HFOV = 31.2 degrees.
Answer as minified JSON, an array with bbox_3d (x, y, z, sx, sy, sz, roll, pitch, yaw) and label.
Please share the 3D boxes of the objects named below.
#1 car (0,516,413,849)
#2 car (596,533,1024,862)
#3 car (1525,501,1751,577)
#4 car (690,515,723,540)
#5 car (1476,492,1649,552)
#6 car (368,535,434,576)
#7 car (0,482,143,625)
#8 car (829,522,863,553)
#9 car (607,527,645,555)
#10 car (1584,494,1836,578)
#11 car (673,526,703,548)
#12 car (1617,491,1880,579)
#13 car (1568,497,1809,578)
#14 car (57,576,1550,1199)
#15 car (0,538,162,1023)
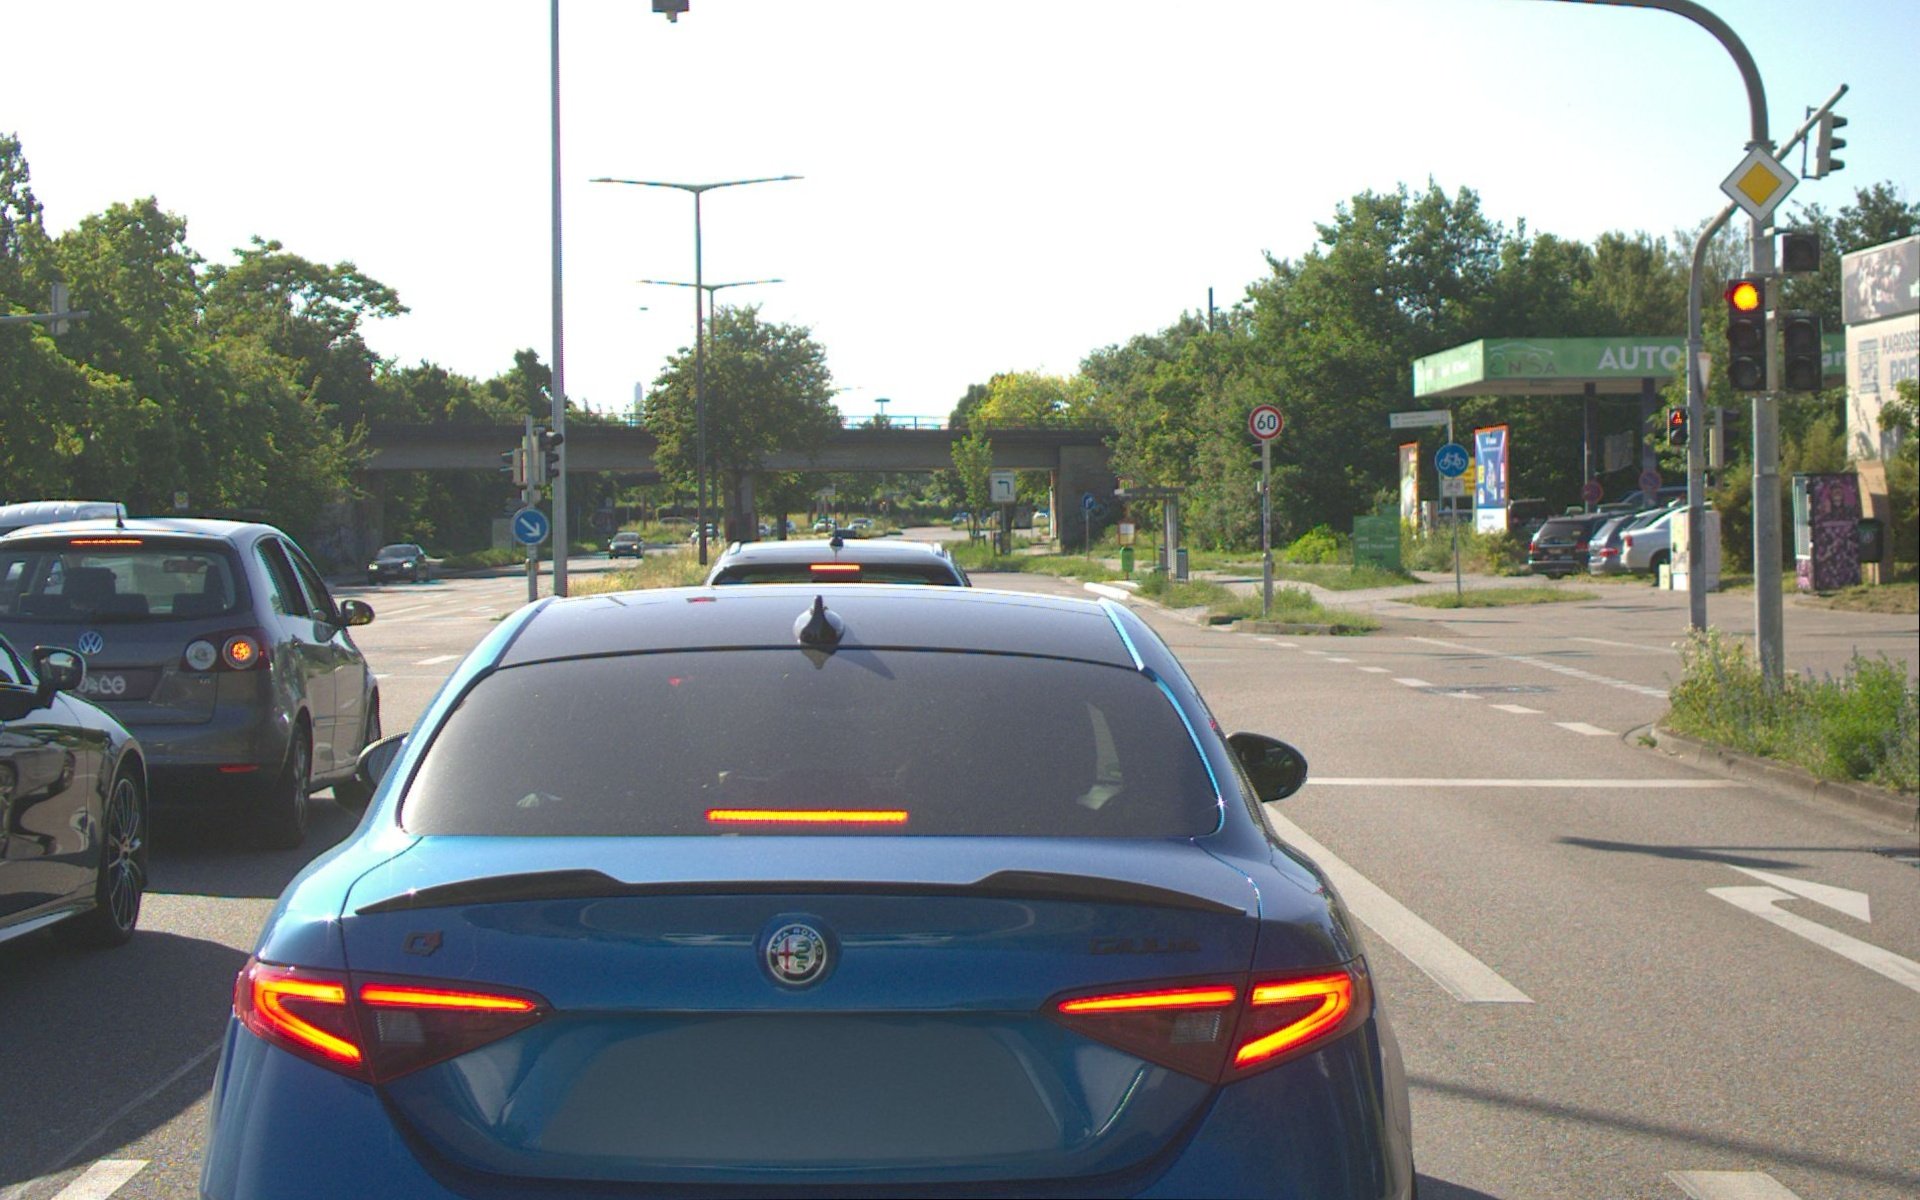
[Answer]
[{"bbox_3d":[-3.995,0.346,17.703,1.759,1.485,4.403,1,1,-2],"label":"car"},{"bbox_3d":[-0.719,0.404,17.227,1.850,1.413,4.403,1,1,-2],"label":"car"},{"bbox_3d":[14.590,-1.318,74.141,4.489,1.449,1.858,-2,1,1],"label":"car"},{"bbox_3d":[-15.969,-4.581,216.451,1.759,1.485,3.837,-2,1,0],"label":"car"},{"bbox_3d":[17.037,-2.200,97.304,4.551,1.485,1.765,-2,1,1],"label":"car"},{"bbox_3d":[-21.342,-1.713,131.427,1.759,1.485,4.478,-2,1,0],"label":"car"},{"bbox_3d":[-16.763,-0.829,63.211,2.022,2.439,5.822,-4,1,-1],"label":"car"},{"bbox_3d":[-6.706,-3.657,201.881,1.891,1.809,4.000,1,1,-1],"label":"car"},{"bbox_3d":[-19.144,-3.378,197.127,1.759,1.485,4.478,-2,1,0],"label":"car"},{"bbox_3d":[14.654,-1.253,67.336,4.489,1.449,1.858,-2,1,1],"label":"car"},{"bbox_3d":[-19.653,-4.523,248.517,1.759,1.485,4.478,-2,1,0],"label":"car"},{"bbox_3d":[14.771,-1.214,64.557,4.489,1.449,1.858,-2,1,1],"label":"car"},{"bbox_3d":[14.810,-1.269,70.090,4.489,1.449,1.858,-2,1,1],"label":"car"},{"bbox_3d":[-0.263,0.681,6.594,1.895,1.413,4.403,1,1,-2],"label":"car"},{"bbox_3d":[-3.830,0.540,10.604,1.796,1.485,4.476,1,1,-2],"label":"car"}]
